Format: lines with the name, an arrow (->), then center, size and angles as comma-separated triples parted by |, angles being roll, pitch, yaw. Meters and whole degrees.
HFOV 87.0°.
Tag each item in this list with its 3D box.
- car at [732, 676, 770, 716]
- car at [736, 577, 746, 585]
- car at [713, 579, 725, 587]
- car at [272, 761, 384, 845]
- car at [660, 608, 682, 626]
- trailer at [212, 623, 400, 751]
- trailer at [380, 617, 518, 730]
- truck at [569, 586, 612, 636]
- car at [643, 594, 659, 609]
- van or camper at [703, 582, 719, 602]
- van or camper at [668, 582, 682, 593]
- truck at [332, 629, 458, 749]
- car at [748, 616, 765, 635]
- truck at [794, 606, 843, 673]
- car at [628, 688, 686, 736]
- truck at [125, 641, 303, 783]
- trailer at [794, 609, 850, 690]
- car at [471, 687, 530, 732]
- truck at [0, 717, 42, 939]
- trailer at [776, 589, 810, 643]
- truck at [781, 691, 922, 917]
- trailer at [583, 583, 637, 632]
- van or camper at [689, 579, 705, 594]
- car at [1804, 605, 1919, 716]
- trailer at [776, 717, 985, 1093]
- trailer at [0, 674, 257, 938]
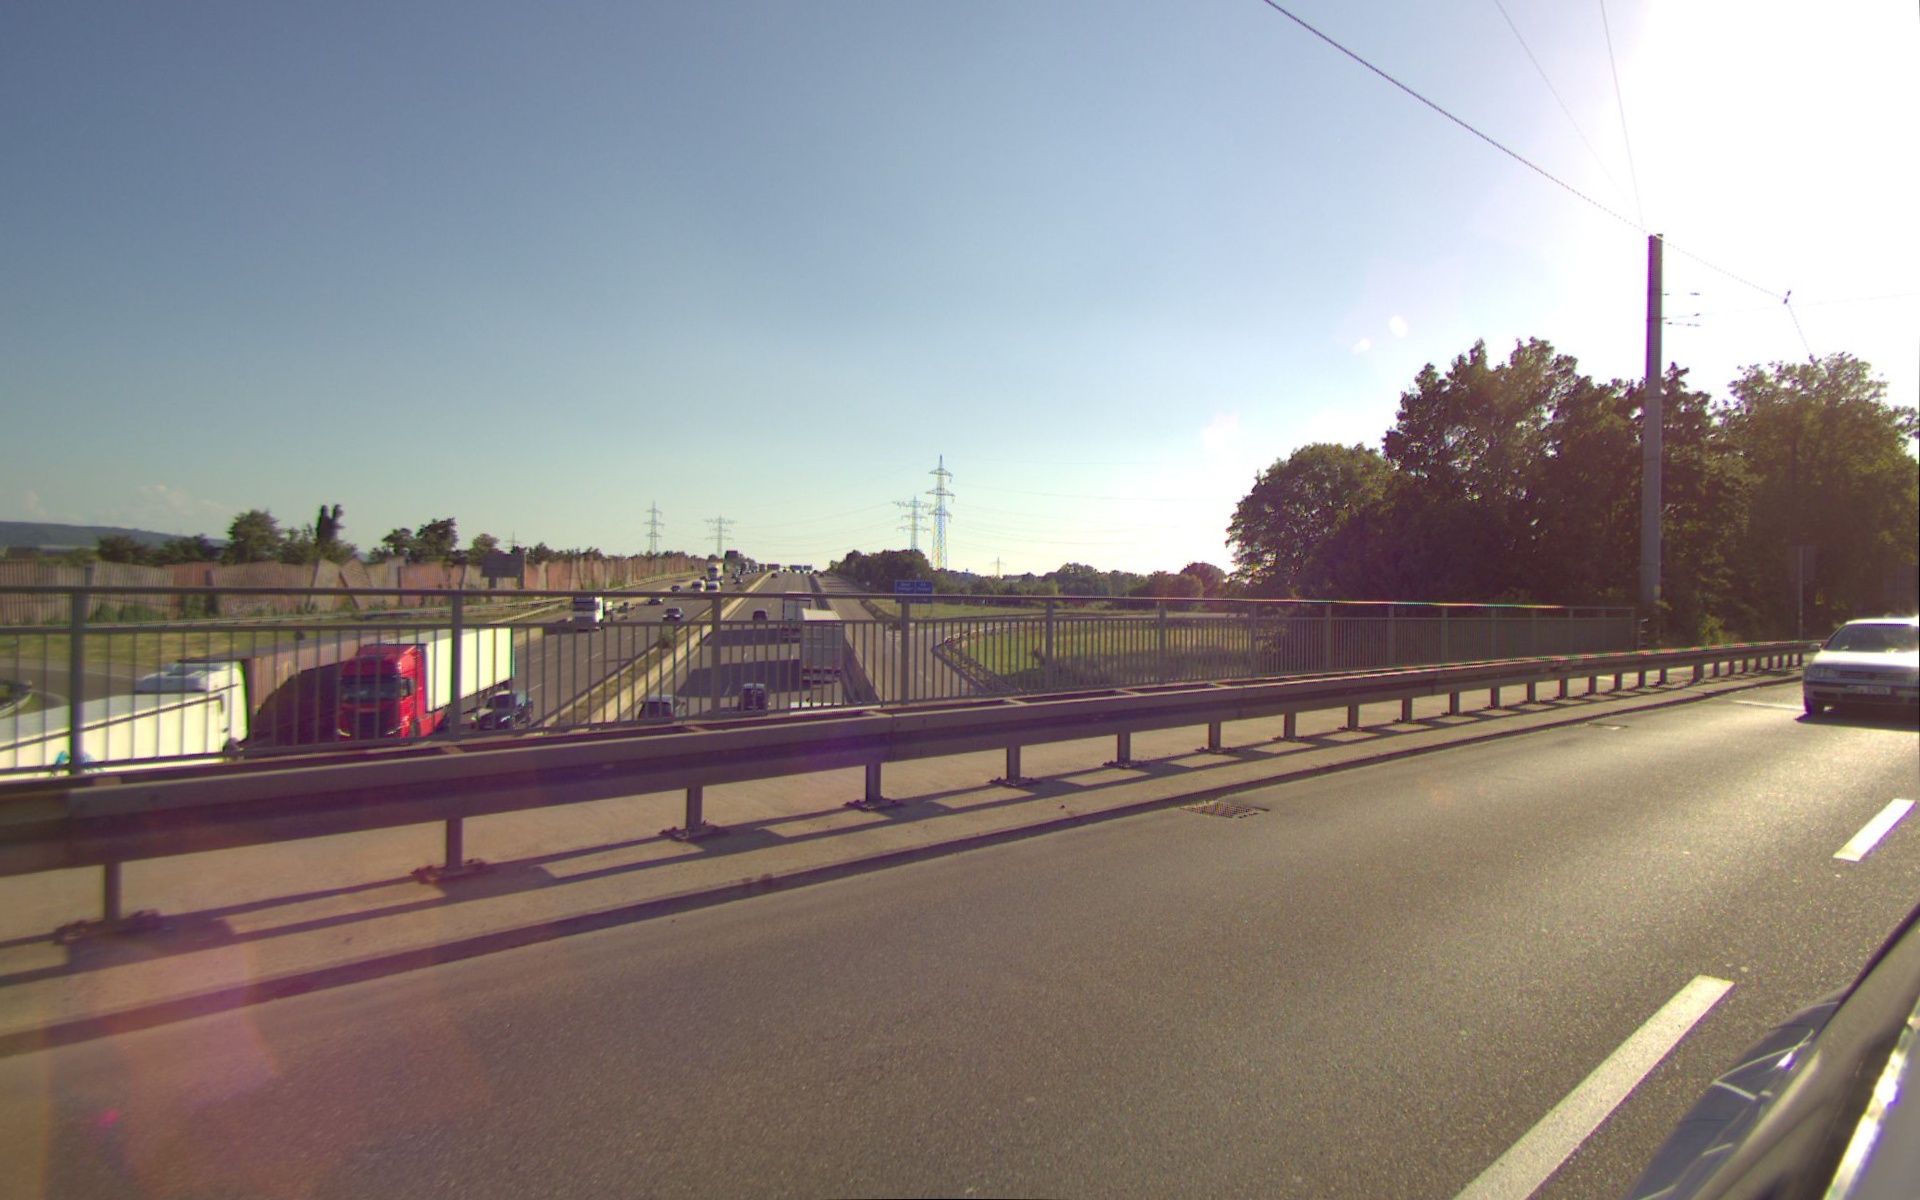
car -> -10.827, 4.910, 52.383 | 1.848, 1.534, 3.969 | 0, 2, -12
car -> -48.891, -4.239, 225.589 | 1.866, 1.741, 3.989 | 0, 3, -8
car -> -52.628, -3.749, 220.990 | 1.867, 1.741, 3.988 | 0, 3, -5
car -> -17.740, 5.664, 28.582 | 1.530, 1.475, 3.353 | 0, 3, -10
car -> -31.174, 1.850, 109.300 | 1.724, 1.616, 4.317 | 0, 3, -9
trailer -> -28.524, 3.501, 45.006 | 2.506, 4.207, 11.511 | -1, 2, -9
trailer -> -25.010, 3.321, 50.337 | 2.506, 4.207, 12.006 | -1, 2, -9
truck -> -36.999, 1.049, 101.480 | 2.678, 4.669, 7.245 | 0, 2, -9
car -> -44.422, 0.175, 145.556 | 1.741, 1.885, 3.831 | 0, 4, -9
van or camper -> -39.786, -1.300, 161.571 | 1.955, 2.857, 4.826 | 0, 3, -8
van or camper -> -49.034, -2.216, 174.221 | 1.717, 1.790, 3.825 | 0, 2, -8
truck -> -23.824, 3.593, 43.058 | 2.506, 4.221, 6.497 | -1, 2, -9
car -> -21.093, 2.596, 104.893 | 1.666, 1.533, 3.971 | 0, 4, -12
truck -> -10.559, 2.867, 75.207 | 3.211, 4.331, 6.392 | 3, 1, -9
car -> -13.597, 5.006, 45.585 | 1.849, 1.534, 4.072 | 0, 2, -7
truck -> -27.336, 3.913, 37.480 | 2.506, 4.221, 6.497 | -1, 2, -9
trailer -> -9.513, 3.127, 68.741 | 3.240, 4.326, 11.576 | 3, 2, -9
car -> -20.514, 4.846, 45.299 | 1.530, 1.475, 3.352 | 0, 3, -8
truck -> -19.715, 4.651, 17.439 | 2.506, 4.181, 6.497 | -1, 2, -9
trailer -> -16.240, 1.360, 98.598 | 2.993, 4.514, 13.142 | -1, 2, -9
truck -> -2.880, 4.728, 25.331 | 2.993, 3.929, 6.619 | -1, 2, -9
trailer -> -38.707, 0.604, 112.642 | 2.676, 4.643, 17.011 | 0, 2, -9
van or camper -> -44.835, -2.317, 172.604 | 2.058, 2.358, 4.975 | 0, 1, -8
car -> 14.137, 0.816, 15.087 | 4.061, 1.435, 1.692 | 0, 0, -40
trailer -> -1.895, 4.971, 19.472 | 2.993, 3.902, 9.392 | -1, 2, -9
trailer -> -20.673, 4.444, 23.343 | 2.506, 4.116, 11.511 | -1, 2, -9
